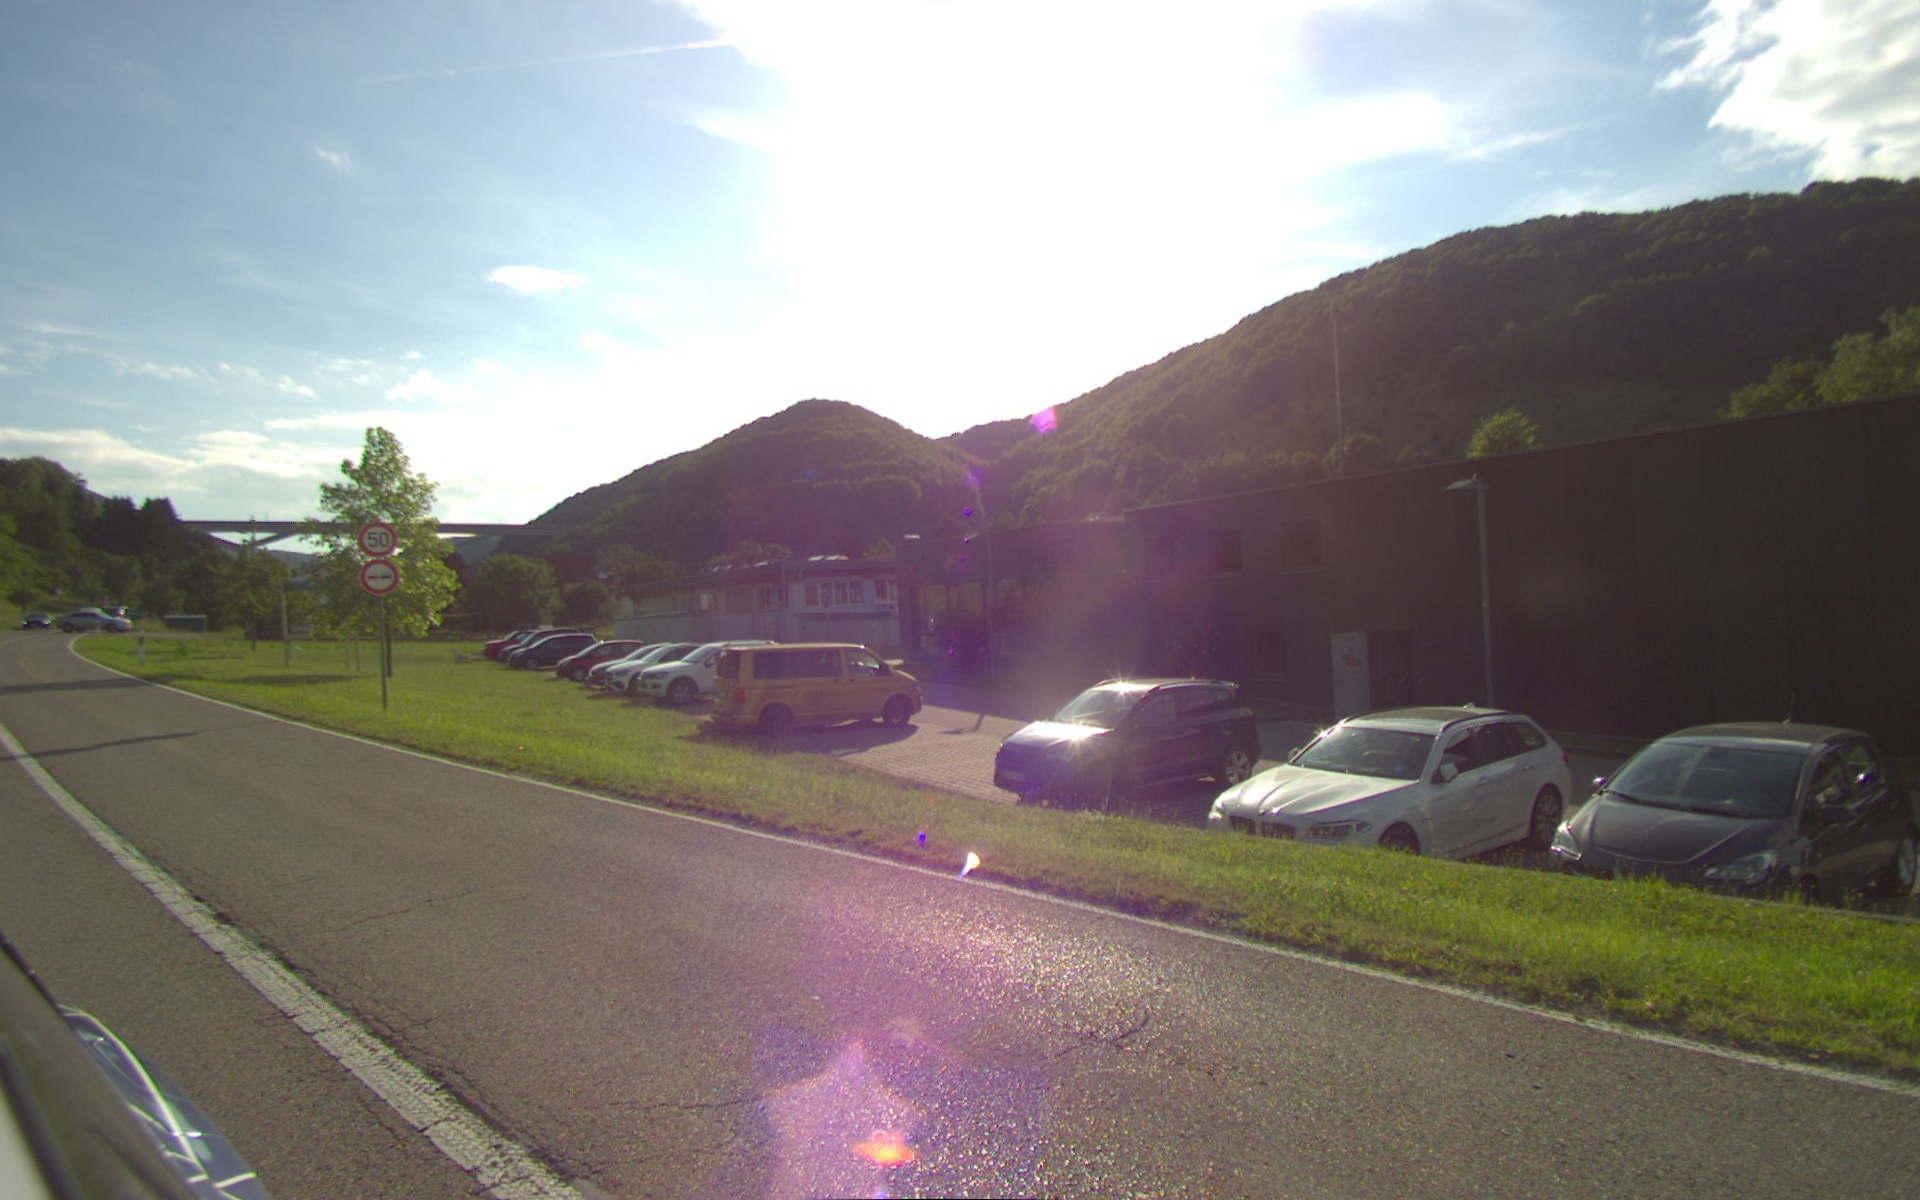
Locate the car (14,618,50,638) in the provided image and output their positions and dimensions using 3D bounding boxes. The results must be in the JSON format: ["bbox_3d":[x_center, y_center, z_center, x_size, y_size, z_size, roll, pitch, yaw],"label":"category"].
[{"bbox_3d":[-79.582,2.382,86.858,1.883,1.698,4.008,1,-2,-37],"label":"car"}]

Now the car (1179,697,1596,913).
[{"bbox_3d":[4.635,1.945,10.716,4.577,1.508,1.917,1,-2,-35],"label":"car"}]

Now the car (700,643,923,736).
[{"bbox_3d":[-3.328,1.925,22.919,4.583,1.827,2.006,0,-2,-31],"label":"car"}]

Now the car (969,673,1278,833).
[{"bbox_3d":[2.416,2.036,14.532,4.226,1.650,1.917,-2,-1,-36],"label":"car"}]

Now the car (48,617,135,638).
[{"bbox_3d":[-66.939,2.107,78.099,4.694,1.539,2.005,0,-1,-12],"label":"car"}]

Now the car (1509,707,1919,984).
[{"bbox_3d":[6.719,1.845,8.639,3.932,1.546,1.838,0,-2,-32],"label":"car"}]

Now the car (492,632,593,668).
[{"bbox_3d":[-21.813,2.575,52.928,4.596,1.776,2.006,1,-2,-32],"label":"car"}]

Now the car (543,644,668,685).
[{"bbox_3d":[-14.053,2.511,40.131,4.371,1.463,2.006,0,-2,-31],"label":"car"}]

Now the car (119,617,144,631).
[{"bbox_3d":[-107.517,3.118,131.366,1.966,1.730,4.012,0,-2,-30],"label":"car"}]

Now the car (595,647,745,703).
[{"bbox_3d":[-9.458,2.397,33.071,4.371,1.599,2.006,0,-2,-31],"label":"car"}]

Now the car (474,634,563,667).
[{"bbox_3d":[-24.939,2.823,57.260,4.371,1.733,2.006,0,-2,-32],"label":"car"}]

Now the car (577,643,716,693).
[{"bbox_3d":[-11.123,2.384,36.020,4.371,1.595,2.006,1,-2,-32],"label":"car"}]

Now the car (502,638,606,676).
[{"bbox_3d":[-19.514,2.688,48.685,4.371,1.595,2.006,-1,-1,-32],"label":"car"}]

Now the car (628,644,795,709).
[{"bbox_3d":[-7.400,2.227,30.228,4.477,1.714,2.006,0,-2,-31],"label":"car"}]
